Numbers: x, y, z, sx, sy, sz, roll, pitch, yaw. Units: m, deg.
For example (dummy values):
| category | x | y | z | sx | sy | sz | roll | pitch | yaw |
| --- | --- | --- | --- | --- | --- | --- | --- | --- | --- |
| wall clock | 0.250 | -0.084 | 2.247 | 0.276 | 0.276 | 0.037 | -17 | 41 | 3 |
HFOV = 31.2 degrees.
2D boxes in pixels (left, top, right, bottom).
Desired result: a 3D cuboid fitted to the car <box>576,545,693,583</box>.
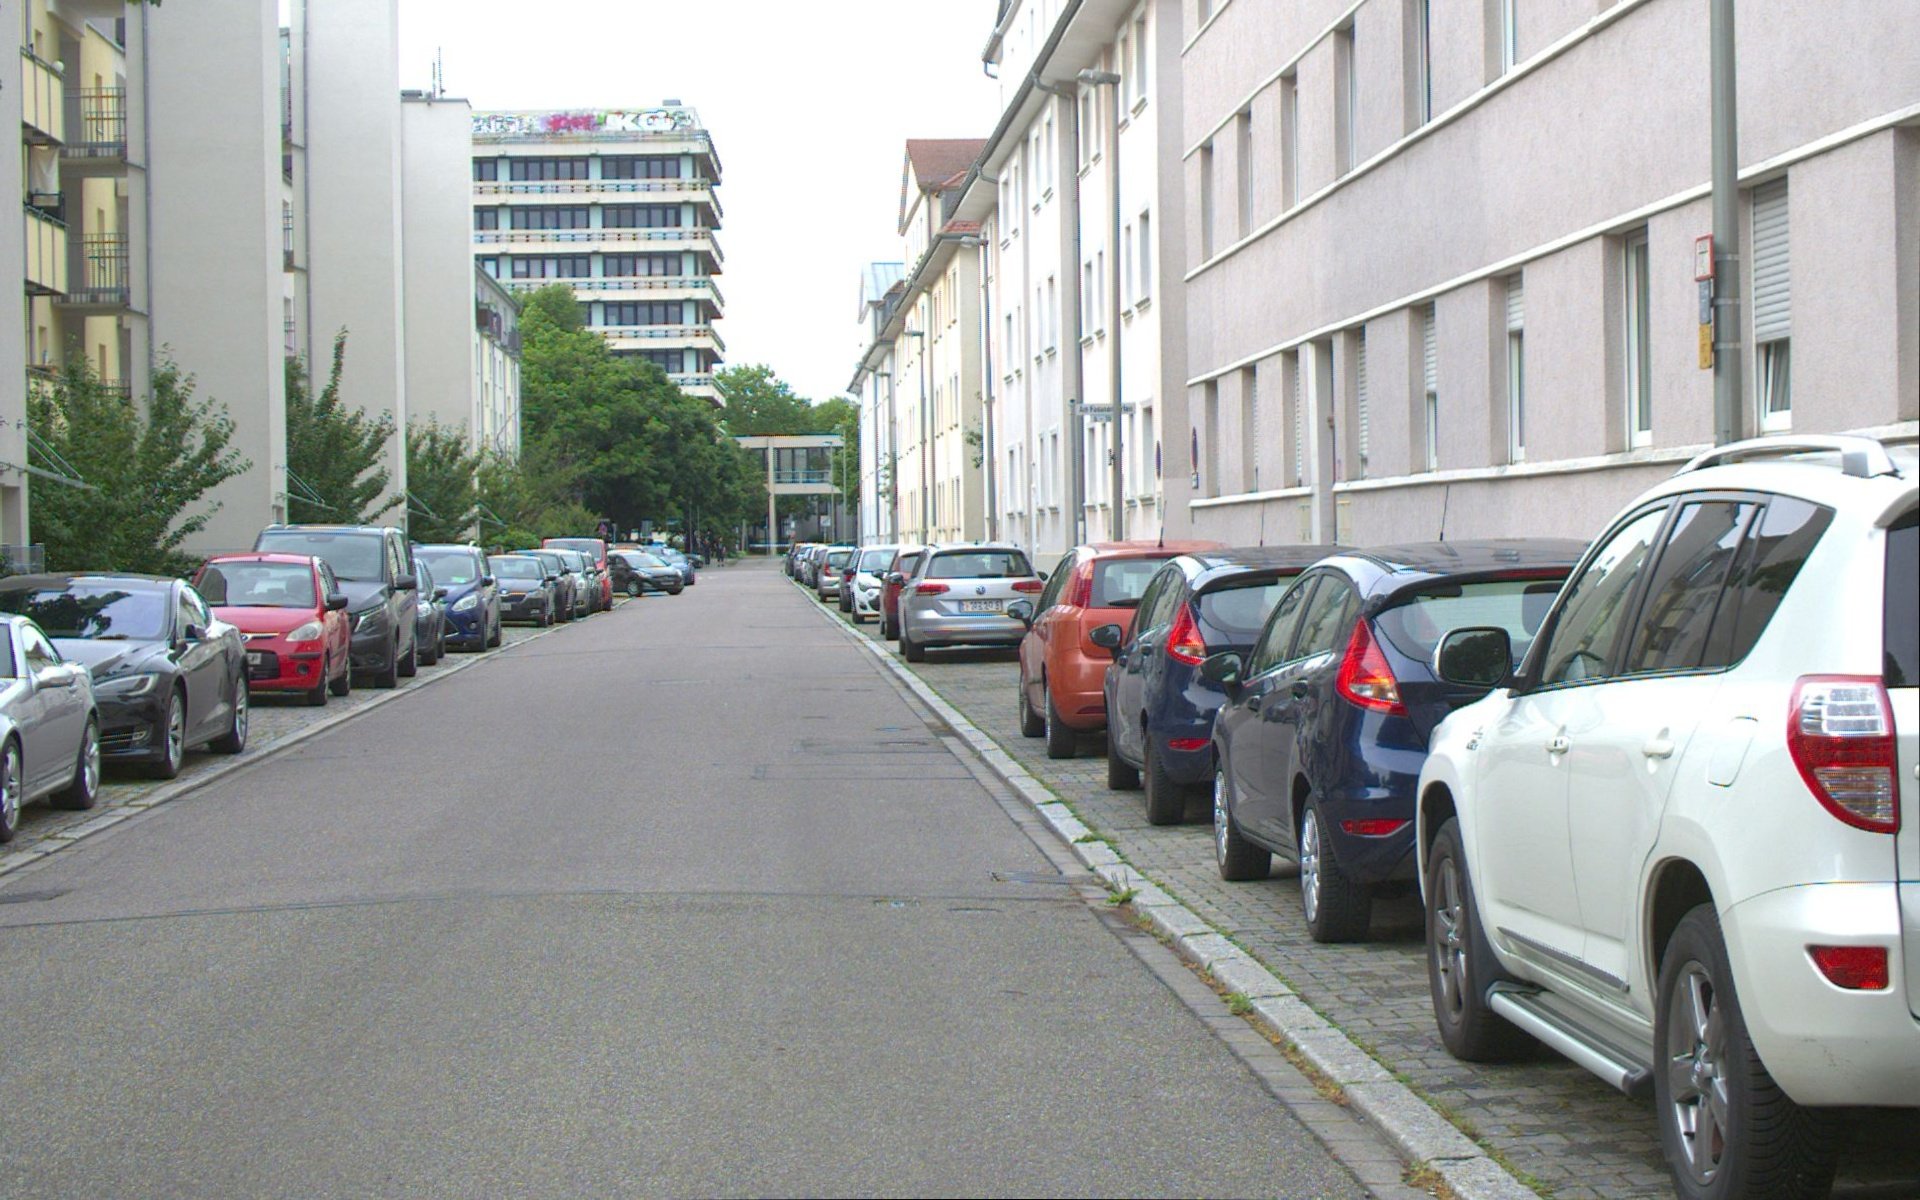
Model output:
| category | x | y | z | sx | sy | sz | roll | pitch | yaw |
| --- | --- | --- | --- | --- | --- | --- | --- | --- | --- |
| car | -10.854 | -1.218 | 114.731 | 3.736 | 1.210 | 1.541 | 1 | 2 | 32 |

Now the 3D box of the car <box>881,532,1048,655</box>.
| category | x | y | z | sx | sy | sz | roll | pitch | yaw |
| --- | --- | --- | --- | --- | --- | --- | --- | --- | --- |
| car | 0.005 | -0.119 | 43.744 | 1.755 | 1.462 | 4.601 | 0 | 1 | -4 |

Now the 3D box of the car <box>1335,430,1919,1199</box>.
| category | x | y | z | sx | sy | sz | roll | pitch | yaw |
| --- | --- | --- | --- | --- | --- | --- | --- | --- | --- |
| car | 2.285 | 0.446 | 8.552 | 1.842 | 1.668 | 4.290 | -2 | 2 | -5 |

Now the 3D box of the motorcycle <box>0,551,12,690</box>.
| category | x | y | z | sx | sy | sz | roll | pitch | yaw |
| --- | --- | --- | --- | --- | --- | --- | --- | --- | --- |
| motorcycle | -9.649 | 0.208 | 32.806 | 0.677 | 1.351 | 2.229 | 2 | 1 | -3 |

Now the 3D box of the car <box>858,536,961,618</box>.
| category | x | y | z | sx | sy | sz | roll | pitch | yaw |
| --- | --- | --- | --- | --- | --- | --- | --- | --- | --- |
| car | -0.996 | -0.464 | 66.230 | 1.819 | 1.499 | 3.753 | 0 | 1 | -3 |

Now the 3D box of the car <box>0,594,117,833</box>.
| category | x | y | z | sx | sy | sz | roll | pitch | yaw |
| --- | --- | --- | --- | --- | --- | --- | --- | --- | --- |
| car | -6.292 | 0.632 | 20.545 | 1.696 | 1.254 | 4.016 | 1 | 1 | -3 |

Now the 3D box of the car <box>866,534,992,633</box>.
| category | x | y | z | sx | sy | sz | roll | pitch | yaw |
| --- | --- | --- | --- | --- | --- | --- | --- | --- | --- |
| car | -0.521 | -0.292 | 54.087 | 1.670 | 1.415 | 4.001 | -2 | 1 | -4 |

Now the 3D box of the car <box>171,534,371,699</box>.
| category | x | y | z | sx | sy | sz | roll | pitch | yaw |
| --- | --- | --- | --- | --- | --- | --- | --- | --- | --- |
| car | -7.136 | 0.128 | 35.873 | 1.563 | 1.563 | 3.643 | 2 | 1 | -4 |

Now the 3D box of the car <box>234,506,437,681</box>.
| category | x | y | z | sx | sy | sz | roll | pitch | yaw |
| --- | --- | --- | --- | --- | --- | --- | --- | --- | --- |
| car | -7.355 | -0.135 | 40.908 | 1.878 | 1.897 | 5.032 | 2 | 1 | -5 |

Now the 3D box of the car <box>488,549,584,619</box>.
| category | x | y | z | sx | sy | sz | roll | pitch | yaw |
| --- | --- | --- | --- | --- | --- | --- | --- | --- | --- |
| car | -8.534 | -0.344 | 69.422 | 1.671 | 1.347 | 3.817 | 0 | 1 | -3 |

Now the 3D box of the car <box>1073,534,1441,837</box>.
| category | x | y | z | sx | sy | sz | roll | pitch | yaw |
| --- | --- | --- | --- | --- | --- | --- | --- | --- | --- |
| car | 1.583 | 0.402 | 19.420 | 1.567 | 1.468 | 3.697 | -3 | 1 | -2 |

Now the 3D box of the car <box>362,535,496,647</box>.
| category | x | y | z | sx | sy | sz | roll | pitch | yaw |
| --- | --- | --- | --- | --- | --- | --- | --- | --- | --- |
| car | -8.187 | -0.176 | 53.294 | 1.769 | 1.637 | 4.356 | 0 | 1 | -5 |

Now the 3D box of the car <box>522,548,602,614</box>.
| category | x | y | z | sx | sy | sz | roll | pitch | yaw |
| --- | --- | --- | --- | --- | --- | --- | --- | --- | --- |
| car | -9.571 | -0.476 | 82.948 | 1.671 | 1.520 | 4.253 | 0 | 1 | -3 |

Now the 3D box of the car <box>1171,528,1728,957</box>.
| category | x | y | z | sx | sy | sz | roll | pitch | yaw |
| --- | --- | --- | --- | --- | --- | --- | --- | --- | --- |
| car | 1.847 | 0.461 | 14.051 | 1.567 | 1.473 | 3.871 | -1 | 1 | -2 |

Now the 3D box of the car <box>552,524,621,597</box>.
| category | x | y | z | sx | sy | sz | roll | pitch | yaw |
| --- | --- | --- | --- | --- | --- | --- | --- | --- | --- |
| car | -10.095 | -1.082 | 93.184 | 1.671 | 1.931 | 3.742 | 0 | 1 | -3 |

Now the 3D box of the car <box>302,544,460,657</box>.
| category | x | y | z | sx | sy | sz | roll | pitch | yaw |
| --- | --- | --- | --- | --- | --- | --- | --- | --- | --- |
| car | -7.960 | -0.026 | 47.565 | 1.830 | 1.454 | 4.261 | 0 | 1 | -5 |

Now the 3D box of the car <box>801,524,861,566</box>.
| category | x | y | z | sx | sy | sz | roll | pitch | yaw |
| --- | --- | --- | --- | --- | --- | --- | --- | --- | --- |
| car | -4.585 | -1.968 | 121.985 | 1.993 | 1.393 | 4.001 | 2 | 1 | -4 |

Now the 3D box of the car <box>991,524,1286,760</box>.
| category | x | y | z | sx | sy | sz | roll | pitch | yaw |
| --- | --- | --- | --- | --- | --- | --- | --- | --- | --- |
| car | 1.216 | 0.239 | 24.900 | 1.696 | 1.520 | 3.826 | -2 | 1 | -3 |

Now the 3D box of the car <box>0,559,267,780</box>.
| category | x | y | z | sx | sy | sz | roll | pitch | yaw |
| --- | --- | --- | --- | --- | --- | --- | --- | --- | --- |
| car | -6.476 | 0.445 | 25.743 | 1.841 | 1.416 | 4.630 | 1 | 1 | -3 |

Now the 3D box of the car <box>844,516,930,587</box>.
| category | x | y | z | sx | sy | sz | roll | pitch | yaw |
| --- | --- | --- | --- | --- | --- | --- | --- | --- | --- |
| car | -1.674 | -1.117 | 77.792 | 1.819 | 1.571 | 3.753 | 0 | 1 | -3 |

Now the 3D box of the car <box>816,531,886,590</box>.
| category | x | y | z | sx | sy | sz | roll | pitch | yaw |
| --- | --- | --- | --- | --- | --- | --- | --- | --- | --- |
| car | -3.021 | -1.094 | 94.660 | 1.819 | 1.571 | 3.884 | 0 | 1 | -3 |
